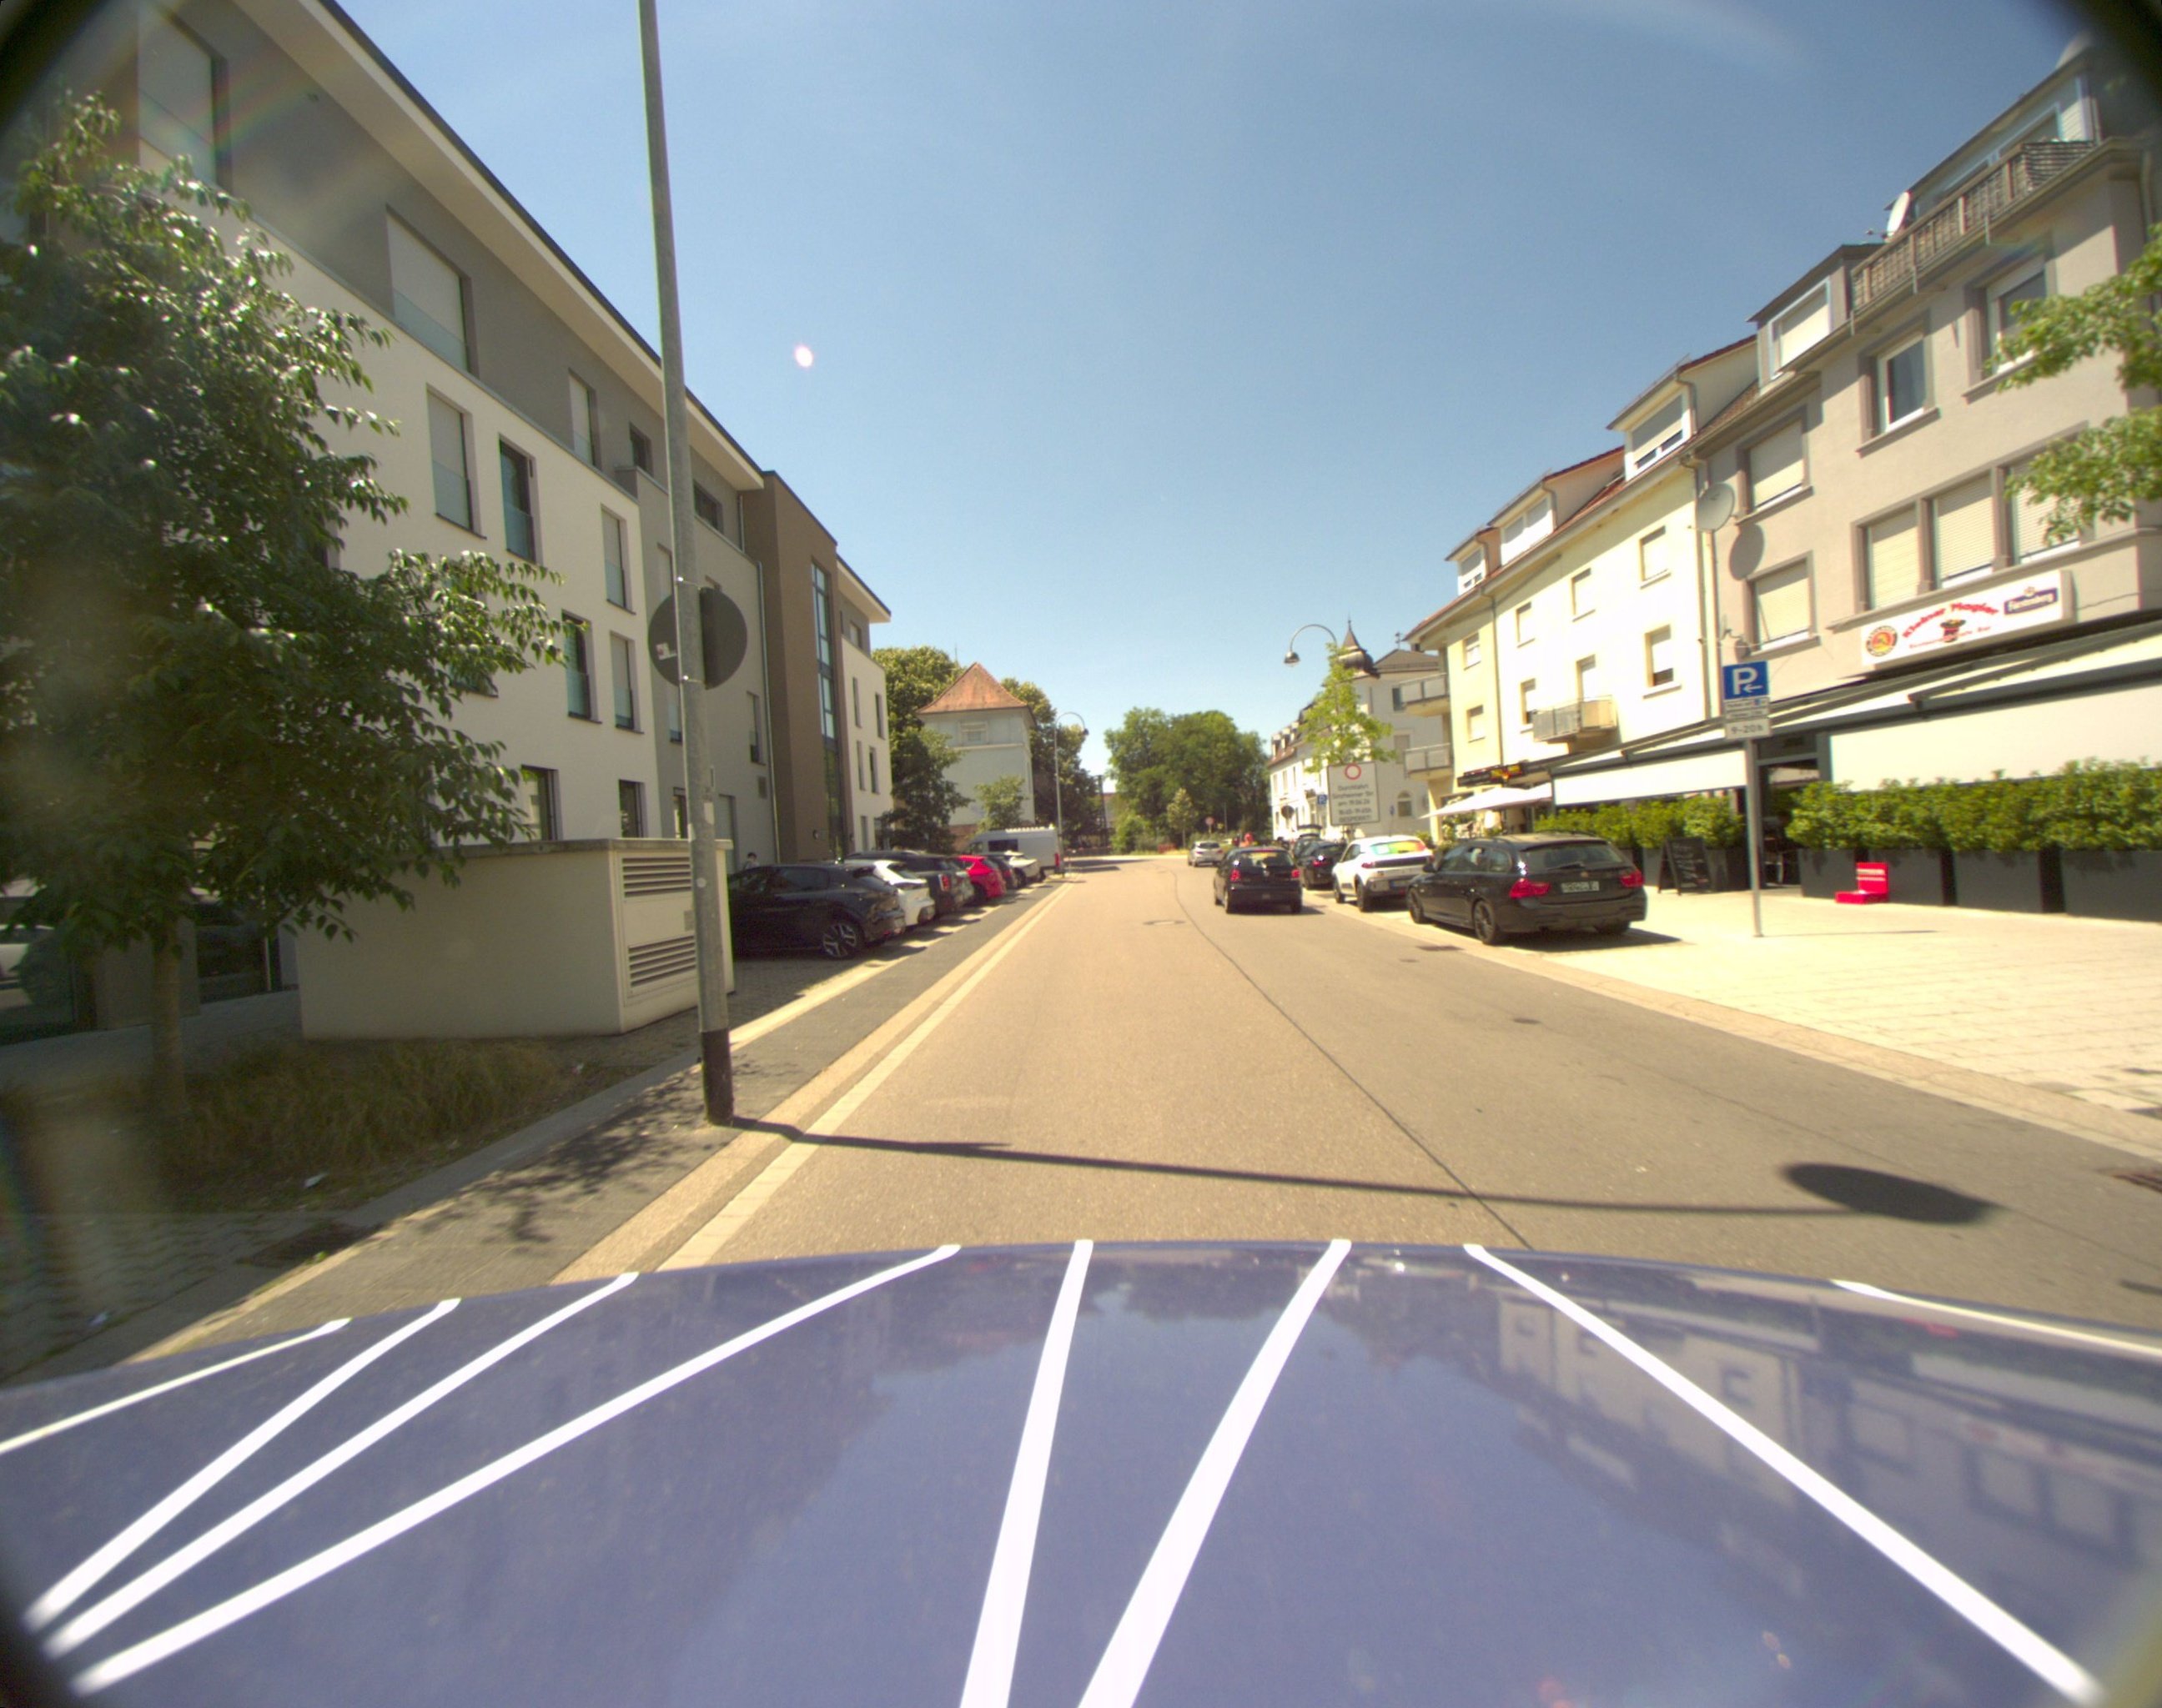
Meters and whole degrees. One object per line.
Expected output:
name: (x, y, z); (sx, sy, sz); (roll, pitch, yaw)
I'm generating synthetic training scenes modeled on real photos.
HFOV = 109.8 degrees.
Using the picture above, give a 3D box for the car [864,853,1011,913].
car: (-4.059, 0.806, 21.920); (3.817, 1.454, 1.652); (-3, 1, 1)

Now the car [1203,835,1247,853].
car: (13.788, -0.998, 72.688); (3.945, 1.528, 1.831); (-3, 1, -32)

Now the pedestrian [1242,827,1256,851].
pedestrian: (12.623, -1.101, 57.170); (0.758, 1.755, 0.802); (-3, 1, -8)

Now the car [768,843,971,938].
car: (-4.498, 0.751, 16.605); (3.818, 1.776, 1.840); (-3, 1, 0)

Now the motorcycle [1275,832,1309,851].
motorcycle: (15.903, -0.970, 57.193); (2.322, 1.317, 0.726); (-3, 1, 5)

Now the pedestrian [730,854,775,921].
pedestrian: (-8.572, 0.863, 19.861); (0.576, 1.674, 1.007); (-3, 1, 3)

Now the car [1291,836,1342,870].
car: (10.721, -0.053, 34.780); (1.899, 1.433, 3.779); (-1, 0, 13)

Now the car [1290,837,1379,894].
car: (7.760, 0.294, 23.652); (1.684, 1.475, 4.341); (-5, 0, 7)

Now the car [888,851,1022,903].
car: (-4.327, 0.760, 26.566); (4.358, 1.542, 1.651); (-3, 1, -1)

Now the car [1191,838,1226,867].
car: (7.406, -0.130, 44.476); (1.684, 1.476, 4.086); (-3, 2, 6)

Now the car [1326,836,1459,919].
car: (6.653, 0.428, 16.656); (1.684, 1.475, 3.770); (-5, 1, 7)

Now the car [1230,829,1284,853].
car: (14.473, -1.087, 62.527); (4.077, 1.729, 1.815); (-3, 1, 7)

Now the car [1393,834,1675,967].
car: (6.303, 0.515, 11.278); (1.758, 1.437, 4.450); (-6, 1, 5)

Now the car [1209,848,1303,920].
car: (3.947, 0.615, 17.667); (1.619, 1.445, 3.865); (-1, 1, 6)

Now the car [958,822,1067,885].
car: (-3.235, -0.027, 36.445); (4.866, 2.720, 1.851); (-3, 1, 2)

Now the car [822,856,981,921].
car: (-4.488, 0.853, 19.352); (3.616, 1.454, 1.617); (-2, 1, 1)

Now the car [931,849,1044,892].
car: (-3.855, 0.678, 31.664); (4.381, 1.521, 1.719); (-3, 1, 2)

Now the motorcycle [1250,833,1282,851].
motorcycle: (14.676, -0.937, 60.330); (2.322, 1.317, 0.726); (-3, 1, 5)

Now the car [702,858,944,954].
car: (-4.670, 0.918, 14.177); (3.818, 1.474, 1.778); (-3, 1, 0)

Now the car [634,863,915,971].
car: (-4.598, 0.928, 11.698); (3.665, 1.437, 1.535); (-1, 1, 4)
